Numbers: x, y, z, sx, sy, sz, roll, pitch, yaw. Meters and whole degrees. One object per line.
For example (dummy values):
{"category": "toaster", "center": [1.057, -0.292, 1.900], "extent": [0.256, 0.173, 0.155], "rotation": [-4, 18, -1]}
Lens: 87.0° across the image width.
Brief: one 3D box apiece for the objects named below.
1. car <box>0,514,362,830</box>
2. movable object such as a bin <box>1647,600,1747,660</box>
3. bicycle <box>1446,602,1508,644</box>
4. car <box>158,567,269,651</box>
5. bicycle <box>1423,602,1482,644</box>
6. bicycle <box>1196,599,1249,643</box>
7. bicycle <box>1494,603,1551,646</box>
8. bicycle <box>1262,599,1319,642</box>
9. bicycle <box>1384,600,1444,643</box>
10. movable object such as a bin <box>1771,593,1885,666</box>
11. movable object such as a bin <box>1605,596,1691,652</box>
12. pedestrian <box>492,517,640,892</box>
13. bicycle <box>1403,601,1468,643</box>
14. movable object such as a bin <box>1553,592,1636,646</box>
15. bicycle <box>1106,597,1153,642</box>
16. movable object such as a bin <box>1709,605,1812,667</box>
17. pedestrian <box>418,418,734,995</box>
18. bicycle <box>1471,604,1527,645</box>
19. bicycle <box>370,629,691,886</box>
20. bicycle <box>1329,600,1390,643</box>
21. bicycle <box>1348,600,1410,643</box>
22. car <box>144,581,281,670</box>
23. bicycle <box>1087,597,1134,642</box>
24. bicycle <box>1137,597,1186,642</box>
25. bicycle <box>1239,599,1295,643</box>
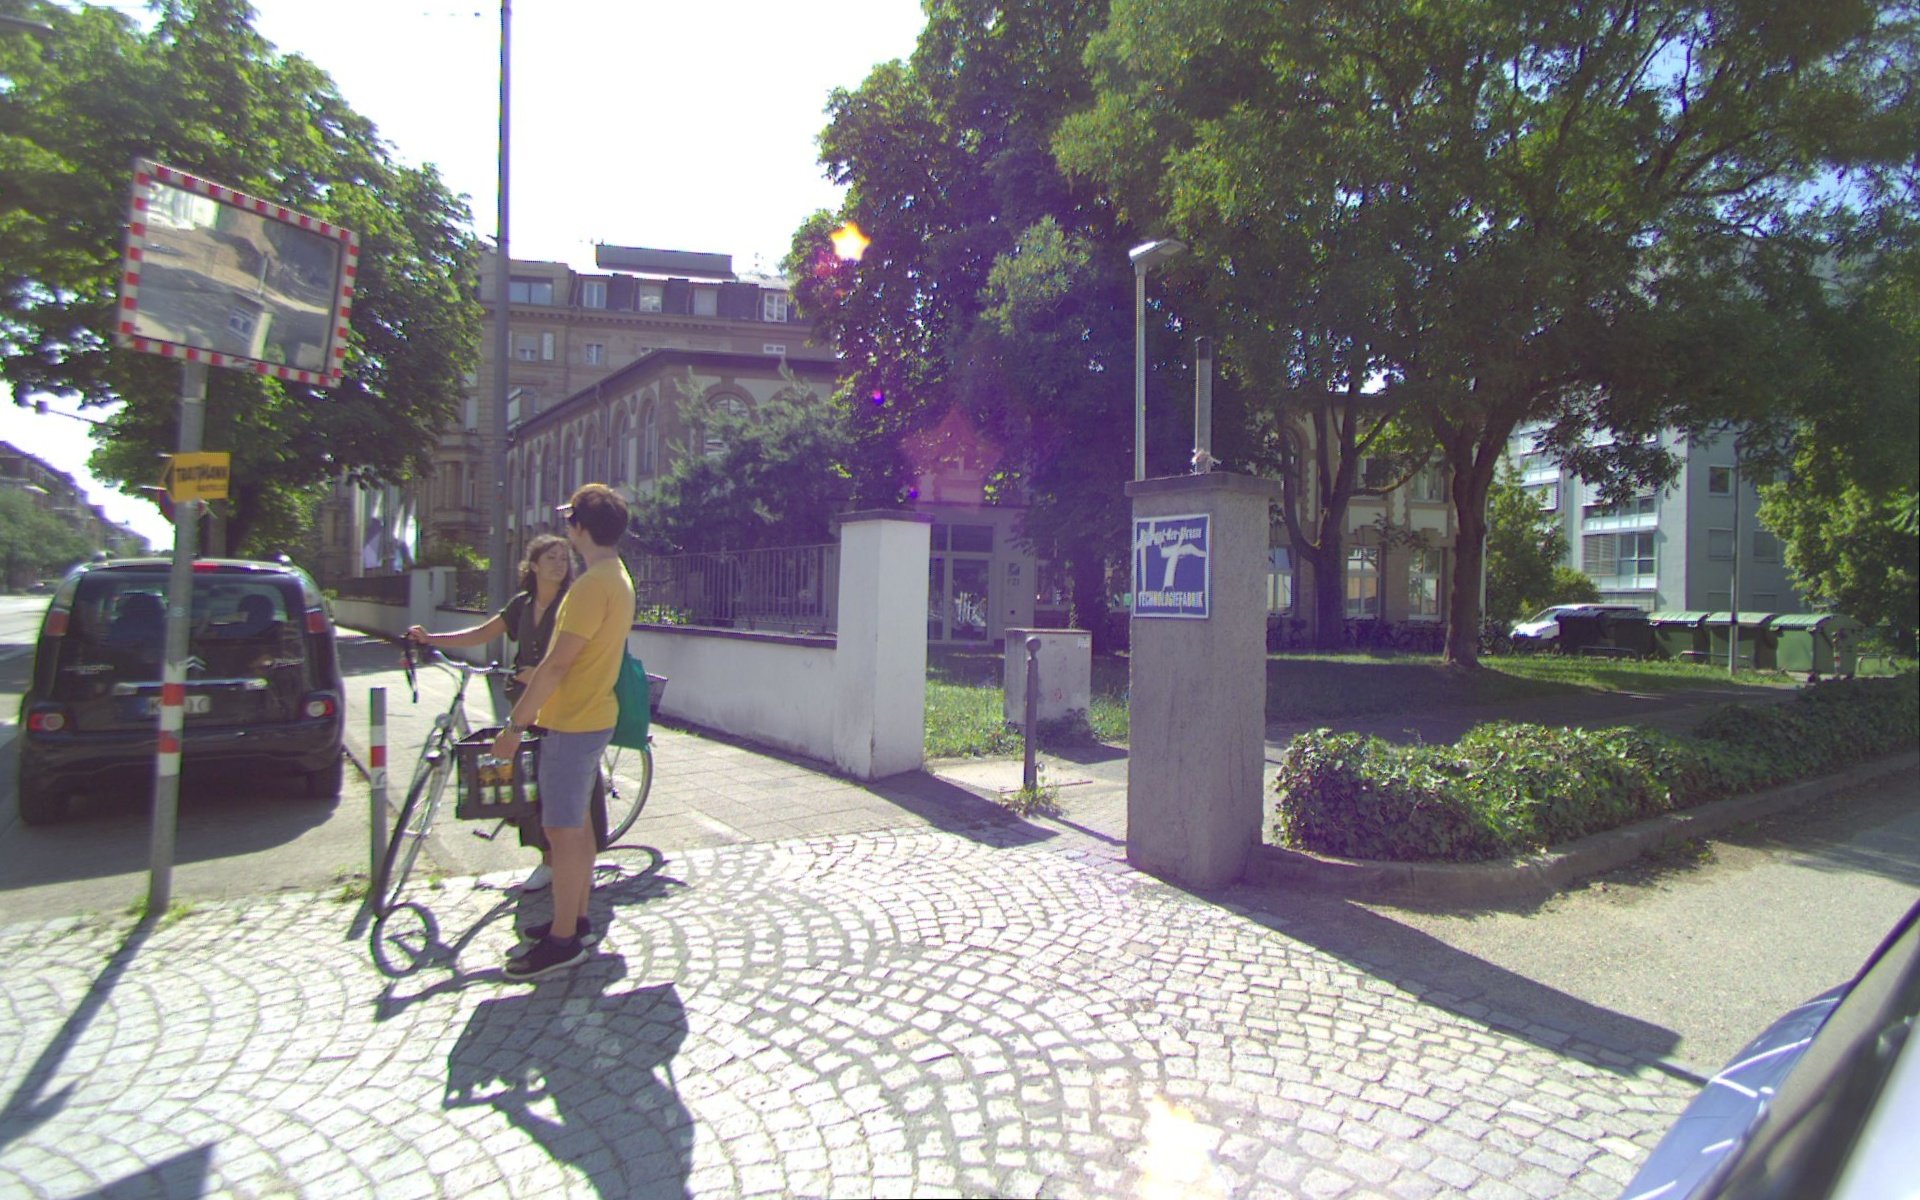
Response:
{"category": "car", "center": [-5.713, 0.365, 7.564], "extent": [1.821, 1.705, 4.000], "rotation": [1, 0, -35]}
{"category": "movable object such as a bin", "center": [17.685, 0.700, 24.324], "extent": [1.190, 1.379, 1.505], "rotation": [1, 0, -14]}
{"category": "bicycle", "center": [15.316, 0.677, 30.047], "extent": [0.600, 1.176, 1.854], "rotation": [1, 0, -11]}
{"category": "car", "center": [-16.624, 0.153, 22.499], "extent": [1.823, 1.701, 3.997], "rotation": [1, 0, -38]}
{"category": "bicycle", "center": [14.498, 0.659, 29.836], "extent": [0.484, 1.176, 1.917], "rotation": [1, 0, -11]}
{"category": "bicycle", "center": [7.394, 0.571, 28.613], "extent": [0.576, 1.176, 2.106], "rotation": [1, 0, -11]}
{"category": "bicycle", "center": [16.586, 0.704, 29.882], "extent": [0.546, 1.176, 1.945], "rotation": [1, 0, -1]}
{"category": "bicycle", "center": [9.451, 0.564, 29.008], "extent": [0.576, 1.176, 2.106], "rotation": [1, 0, -11]}
{"category": "bicycle", "center": [13.237, 0.615, 29.541], "extent": [0.576, 1.176, 1.925], "rotation": [1, 0, -11]}
{"category": "movable object such as a bin", "center": [18.325, 0.594, 21.417], "extent": [1.192, 1.481, 1.392], "rotation": [1, 0, 1]}
{"category": "movable object such as a bin", "center": [17.571, 0.591, 25.872], "extent": [1.190, 1.366, 1.355], "rotation": [1, 0, -14]}
{"category": "pedestrian", "center": [-1.841, 0.456, 4.745], "extent": [0.419, 1.642, 0.448], "rotation": [1, -1, 35]}
{"category": "bicycle", "center": [13.942, 0.631, 29.750], "extent": [0.576, 1.176, 2.106], "rotation": [1, 0, -11]}
{"category": "movable object such as a bin", "center": [17.163, 0.502, 27.395], "extent": [1.224, 1.427, 1.439], "rotation": [1, 0, -15]}
{"category": "bicycle", "center": [4.713, 0.516, 28.246], "extent": [0.576, 1.176, 2.106], "rotation": [1, 0, -11]}
{"category": "movable object such as a bin", "center": [18.054, 0.792, 22.851], "extent": [1.190, 1.317, 1.358], "rotation": [1, 0, -14]}
{"category": "pedestrian", "center": [-1.479, 0.342, 3.908], "extent": [0.827, 1.888, 0.840], "rotation": [1, 0, 43]}
{"category": "bicycle", "center": [15.968, 0.708, 30.015], "extent": [0.497, 1.176, 1.807], "rotation": [1, 0, -7]}
{"category": "bicycle", "center": [-2.057, 0.692, 5.036], "extent": [0.361, 1.054, 1.493], "rotation": [1, 0, 35]}
{"category": "bicycle", "center": [11.531, 0.604, 29.264], "extent": [0.576, 1.176, 2.106], "rotation": [1, 0, -11]}
{"category": "bicycle", "center": [12.164, 0.593, 29.444], "extent": [0.576, 1.176, 2.106], "rotation": [1, 0, -11]}
{"category": "car", "center": [-13.706, 0.392, 18.541], "extent": [1.823, 1.429, 3.997], "rotation": [1, 0, -38]}
{"category": "bicycle", "center": [4.138, 0.504, 28.008], "extent": [0.576, 1.176, 2.106], "rotation": [1, 0, -11]}
{"category": "bicycle", "center": [5.621, 0.530, 28.356], "extent": [0.576, 1.176, 2.106], "rotation": [1, 0, -11]}
{"category": "bicycle", "center": [8.712, 0.576, 28.828], "extent": [0.576, 1.176, 2.106], "rotation": [1, 0, -11]}
